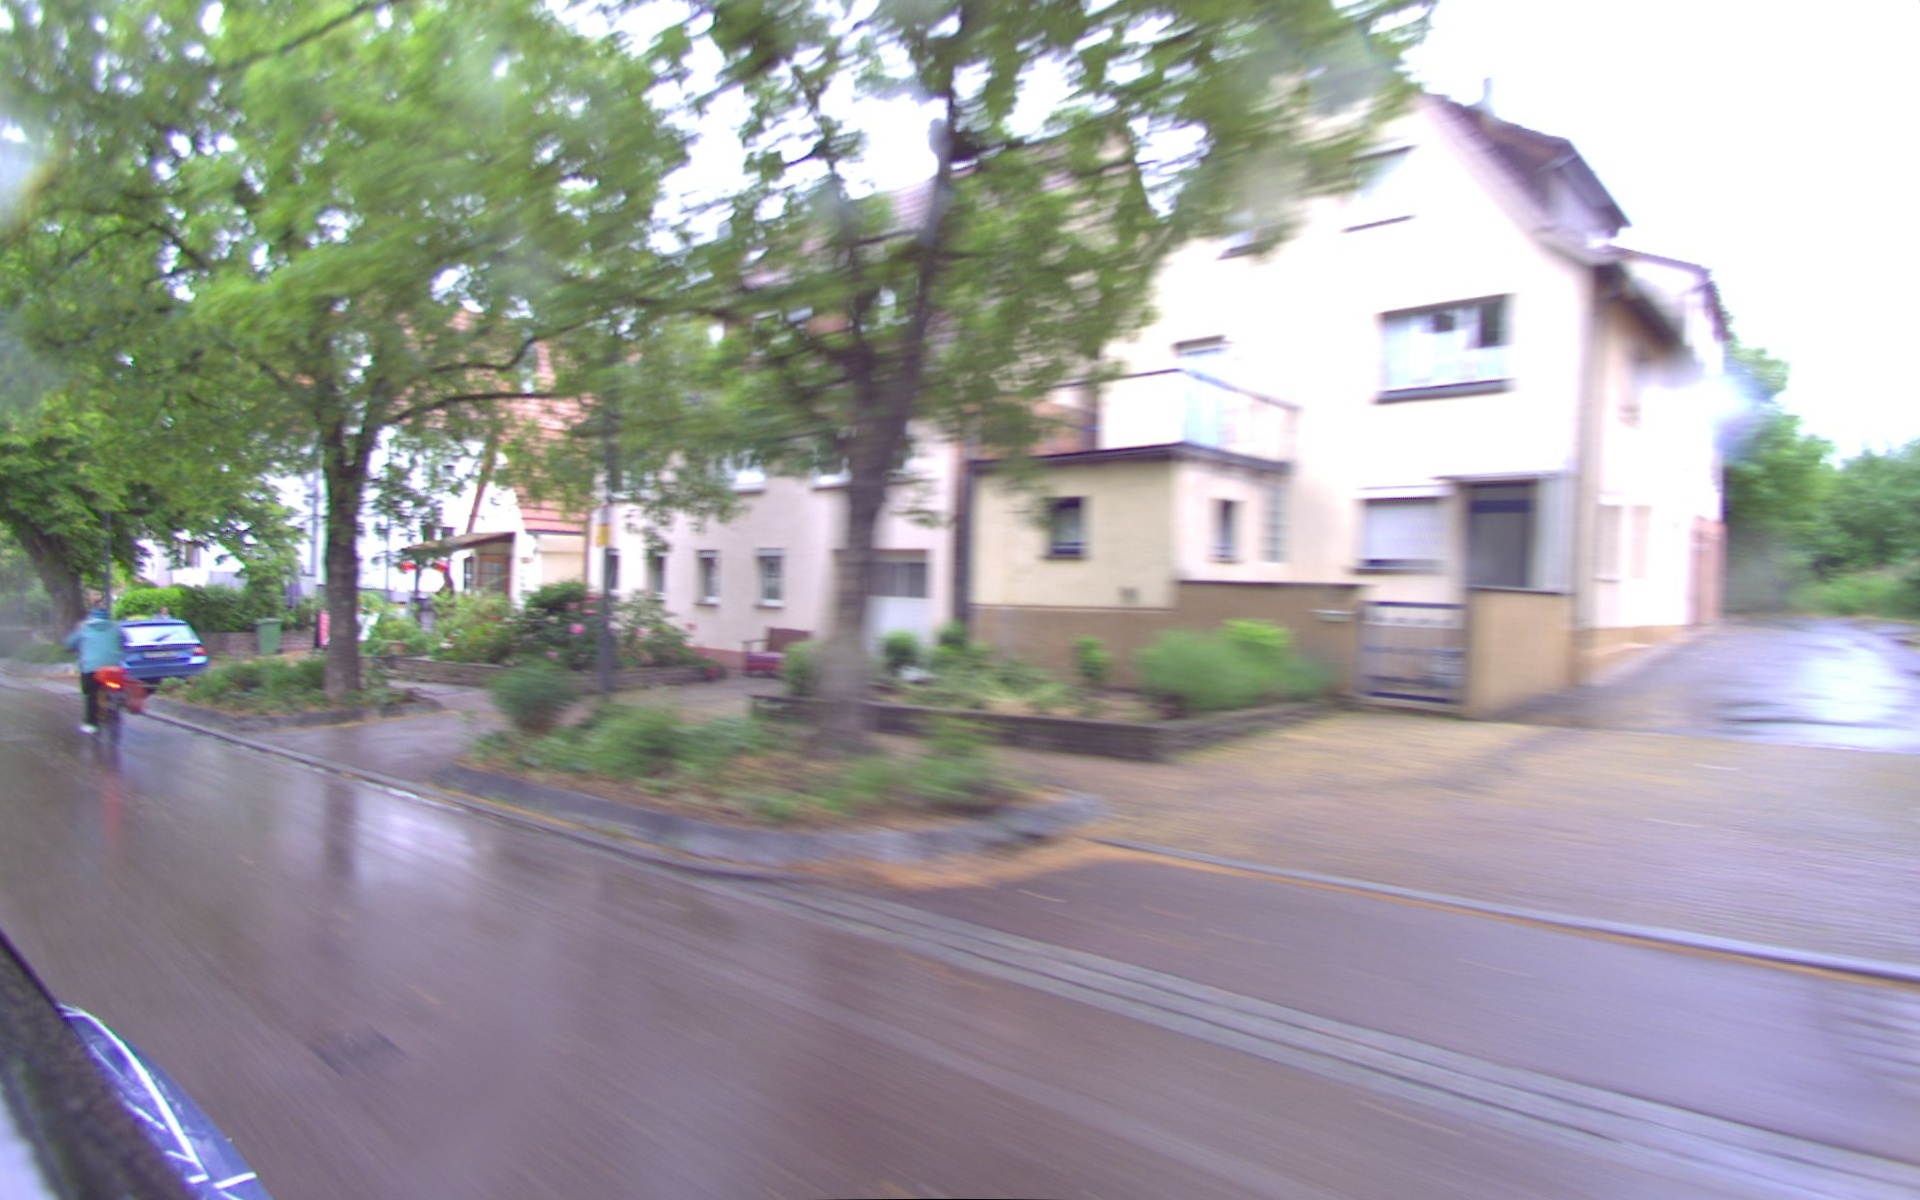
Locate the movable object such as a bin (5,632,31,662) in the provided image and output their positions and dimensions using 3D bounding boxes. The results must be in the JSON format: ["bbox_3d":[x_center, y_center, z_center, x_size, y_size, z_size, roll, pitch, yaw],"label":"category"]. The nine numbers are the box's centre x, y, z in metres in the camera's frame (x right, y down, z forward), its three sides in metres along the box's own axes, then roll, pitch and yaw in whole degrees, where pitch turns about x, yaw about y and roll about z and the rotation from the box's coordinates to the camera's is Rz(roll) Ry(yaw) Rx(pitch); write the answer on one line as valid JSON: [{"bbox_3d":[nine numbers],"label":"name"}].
[{"bbox_3d":[-34.082,1.694,36.605,0.655,1.082,0.596,2,-1,-45],"label":"movable object such as a bin"}]

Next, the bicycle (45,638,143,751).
[{"bbox_3d":[-10.502,1.096,12.253,1.980,1.218,0.620,-1,-1,41],"label":"bicycle"}]

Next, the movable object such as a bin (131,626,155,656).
[{"bbox_3d":[-31.886,1.588,39.489,0.659,1.141,0.655,-1,-1,43],"label":"movable object such as a bin"}]

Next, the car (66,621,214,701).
[{"bbox_3d":[-16.350,1.143,20.125,3.795,1.406,1.731,-1,-1,42],"label":"car"}]

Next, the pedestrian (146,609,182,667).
[{"bbox_3d":[-22.375,1.060,28.435,0.931,1.606,0.643,-1,-1,41],"label":"pedestrian"}]

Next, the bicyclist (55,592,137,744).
[{"bbox_3d":[-10.382,0.787,12.159,0.879,1.744,0.621,-1,-1,41],"label":"bicyclist"}]

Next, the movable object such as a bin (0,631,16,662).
[{"bbox_3d":[-34.793,1.686,36.799,0.655,1.082,0.596,2,-1,-45],"label":"movable object such as a bin"}]
